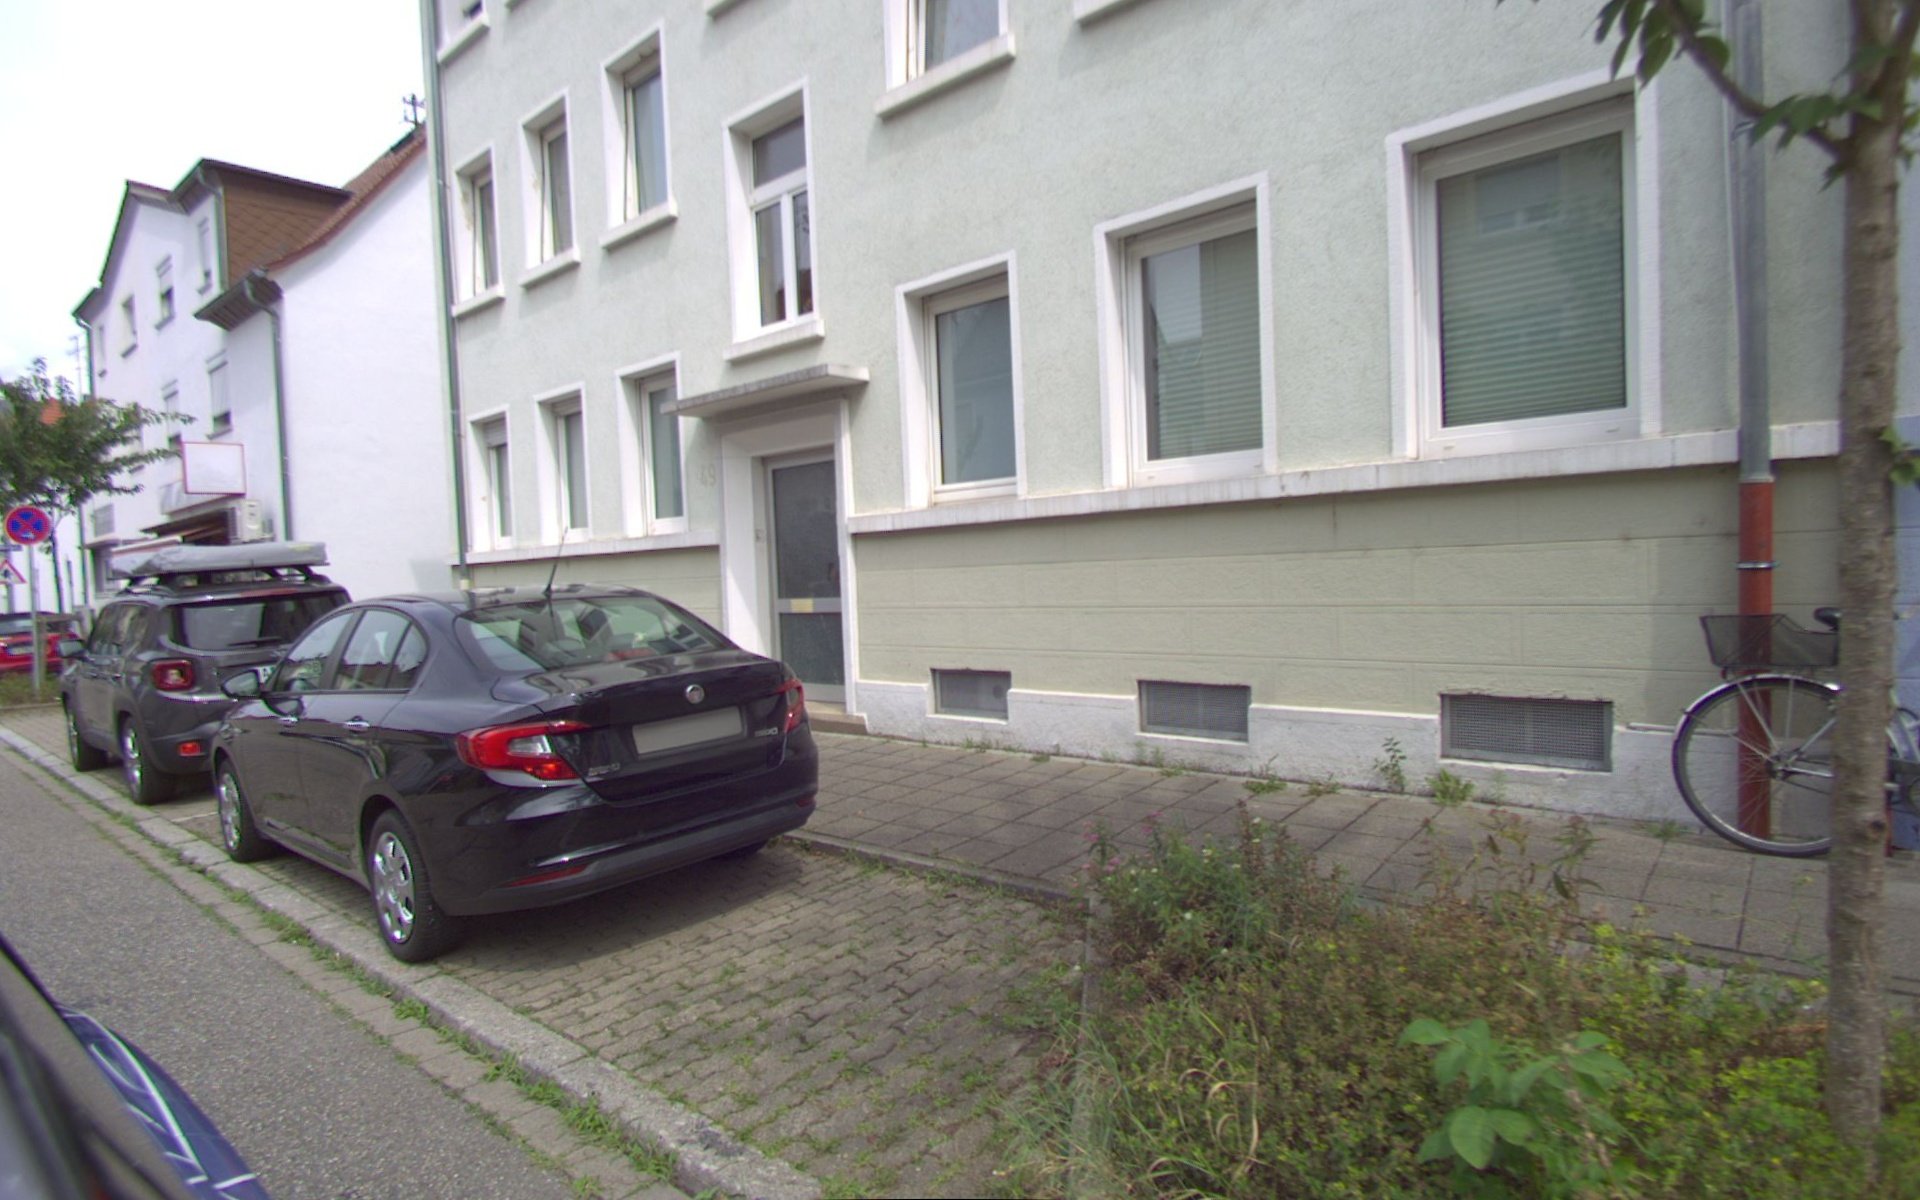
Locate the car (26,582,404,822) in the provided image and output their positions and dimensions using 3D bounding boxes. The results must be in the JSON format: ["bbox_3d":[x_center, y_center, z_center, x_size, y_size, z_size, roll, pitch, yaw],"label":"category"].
[{"bbox_3d":[-6.790,0.720,9.055,4.245,1.593,1.676,-1,3,40],"label":"car"}]

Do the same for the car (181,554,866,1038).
[{"bbox_3d":[-2.558,0.638,5.308,4.248,1.554,1.684,-1,0,42],"label":"car"}]

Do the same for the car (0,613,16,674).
[{"bbox_3d":[-25.134,1.086,25.402,3.440,1.497,1.690,-1,0,39],"label":"car"}]

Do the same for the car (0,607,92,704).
[{"bbox_3d":[-17.604,0.962,18.711,4.112,1.613,1.690,-1,0,40],"label":"car"}]

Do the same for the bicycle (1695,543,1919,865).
[{"bbox_3d":[3.570,0.361,3.577,1.538,1.122,0.363,-1,0,41],"label":"bicycle"}]
